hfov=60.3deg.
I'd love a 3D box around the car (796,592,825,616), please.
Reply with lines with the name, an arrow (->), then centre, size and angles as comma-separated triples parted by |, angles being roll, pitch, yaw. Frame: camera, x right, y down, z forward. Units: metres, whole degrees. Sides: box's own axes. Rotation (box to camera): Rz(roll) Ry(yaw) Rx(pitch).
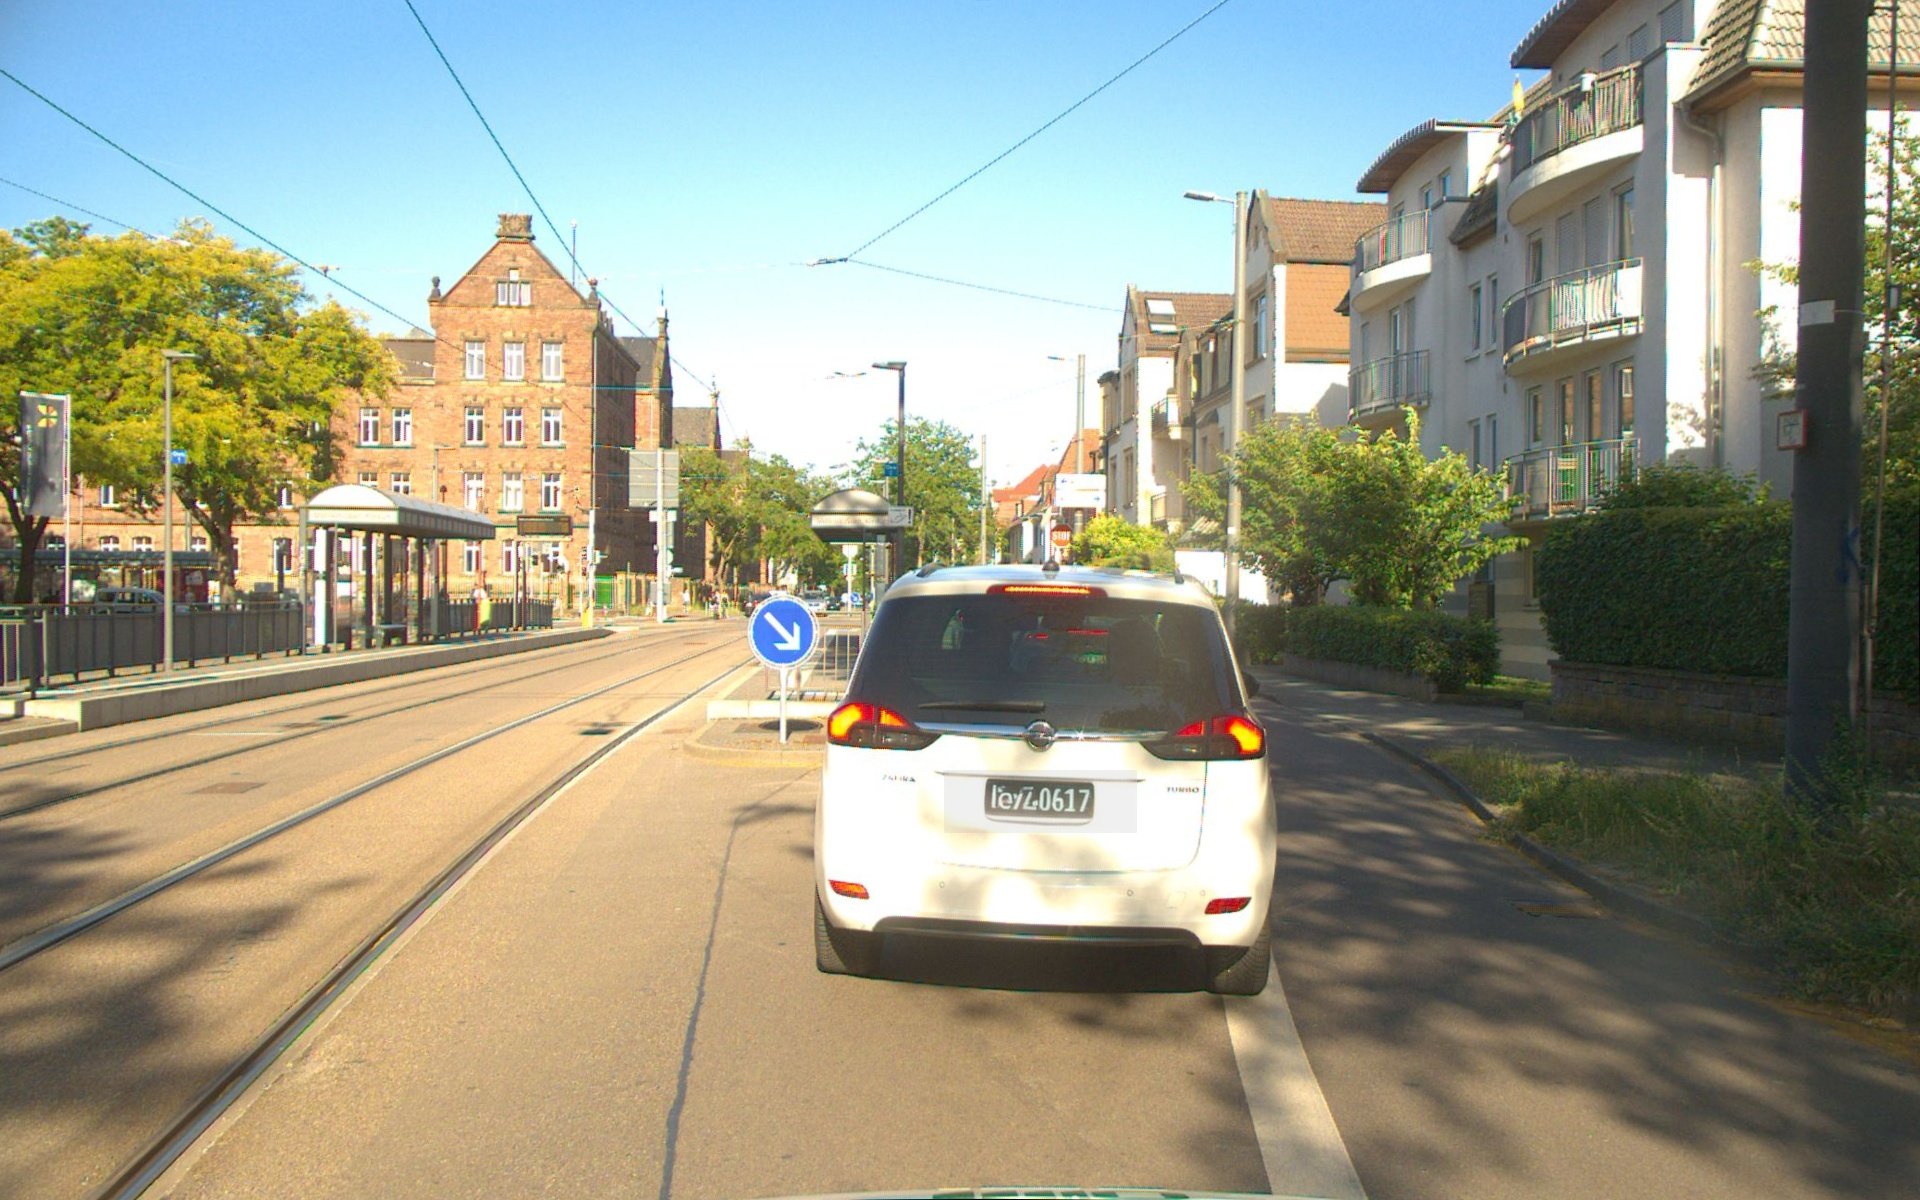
car -> -10.332, 0.255, 114.258 | 1.955, 1.657, 3.996 | 0, 0, -5

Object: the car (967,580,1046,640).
car -> 1.203, 0.256, 44.314 | 1.953, 1.529, 3.999 | 0, 0, -1

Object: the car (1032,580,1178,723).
car -> 1.739, 0.584, 20.845 | 1.603, 1.629, 3.855 | 0, 0, 2

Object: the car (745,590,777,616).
car -> -12.840, 0.189, 106.892 | 1.955, 1.657, 3.996 | 0, 0, -5

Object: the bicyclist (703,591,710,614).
bicyclist -> -17.630, 0.176, 114.829 | 0.435, 1.580, 0.495 | 0, 0, -4

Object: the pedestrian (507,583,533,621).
pedestrian -> -20.209, 0.079, 75.959 | 0.877, 1.713, 1.029 | 1, 0, -1

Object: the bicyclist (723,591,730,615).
bicyclist -> -15.366, 0.192, 108.916 | 0.435, 1.580, 0.495 | 0, 0, -4

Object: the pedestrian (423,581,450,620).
pedestrian -> -23.072, 0.024, 72.874 | 0.825, 1.721, 1.029 | 1, 0, -1

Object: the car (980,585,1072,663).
car -> 1.381, 0.491, 36.193 | 1.793, 1.607, 4.009 | 0, 0, -1

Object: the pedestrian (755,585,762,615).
pedestrian -> -13.629, -0.001, 111.758 | 0.435, 2.049, 0.495 | 0, 0, -4

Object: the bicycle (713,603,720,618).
bicycle -> -15.146, 0.645, 102.845 | 0.337, 0.966, 1.159 | 1, 0, -4

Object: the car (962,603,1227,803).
car -> 1.027, 0.747, 13.986 | 1.912, 1.422, 4.001 | 0, 0, 1

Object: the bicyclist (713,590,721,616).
bicyclist -> -15.137, 0.170, 103.053 | 0.435, 1.580, 0.742 | 0, 0, -4

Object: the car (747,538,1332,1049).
car -> 0.452, 0.648, 7.599 | 1.951, 1.673, 3.996 | 1, 0, 6

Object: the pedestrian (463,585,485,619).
pedestrian -> -23.620, 0.086, 80.407 | 0.786, 1.616, 0.934 | 1, 0, -3

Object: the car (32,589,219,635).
car -> -37.282, 0.514, 74.058 | 6.810, 1.954, 2.991 | 0, 0, -2

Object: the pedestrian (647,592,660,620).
pedestrian -> -19.174, 0.382, 103.505 | 0.721, 1.744, 0.705 | 1, -1, -9

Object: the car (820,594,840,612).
car -> -12.528, 0.260, 159.255 | 1.955, 1.657, 3.984 | 0, 0, -5

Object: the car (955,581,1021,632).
car -> 0.834, 0.189, 51.769 | 1.953, 1.529, 3.999 | 0, 0, -1

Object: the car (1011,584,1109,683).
car -> 1.713, 0.549, 29.273 | 1.603, 1.629, 3.855 | 0, 0, 2

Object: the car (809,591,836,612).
car -> -10.989, 0.128, 132.174 | 1.953, 1.657, 3.998 | 0, 0, -3

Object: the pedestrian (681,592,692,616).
pedestrian -> -20.888, 0.306, 126.236 | 0.720, 1.744, 0.753 | 1, -1, -6

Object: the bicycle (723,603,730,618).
bicycle -> -15.376, 0.667, 108.923 | 0.337, 0.966, 0.996 | 1, 0, -4

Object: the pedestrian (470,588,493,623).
pedestrian -> -22.310, 0.267, 77.165 | 0.786, 1.616, 0.934 | 1, 0, -3

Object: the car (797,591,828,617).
car -> -9.529, 0.239, 107.164 | 1.955, 1.657, 3.996 | 0, 0, -5

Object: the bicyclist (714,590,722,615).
bicyclist -> -15.557, 0.178, 106.329 | 0.435, 1.580, 0.495 | 0, 0, -4

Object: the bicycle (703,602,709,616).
bicycle -> -17.636, 0.652, 114.865 | 0.337, 0.966, 0.996 | 1, 0, -4

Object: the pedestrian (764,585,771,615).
pedestrian -> -13.044, 0.011, 112.052 | 0.435, 2.049, 0.495 | 0, 0, -4
